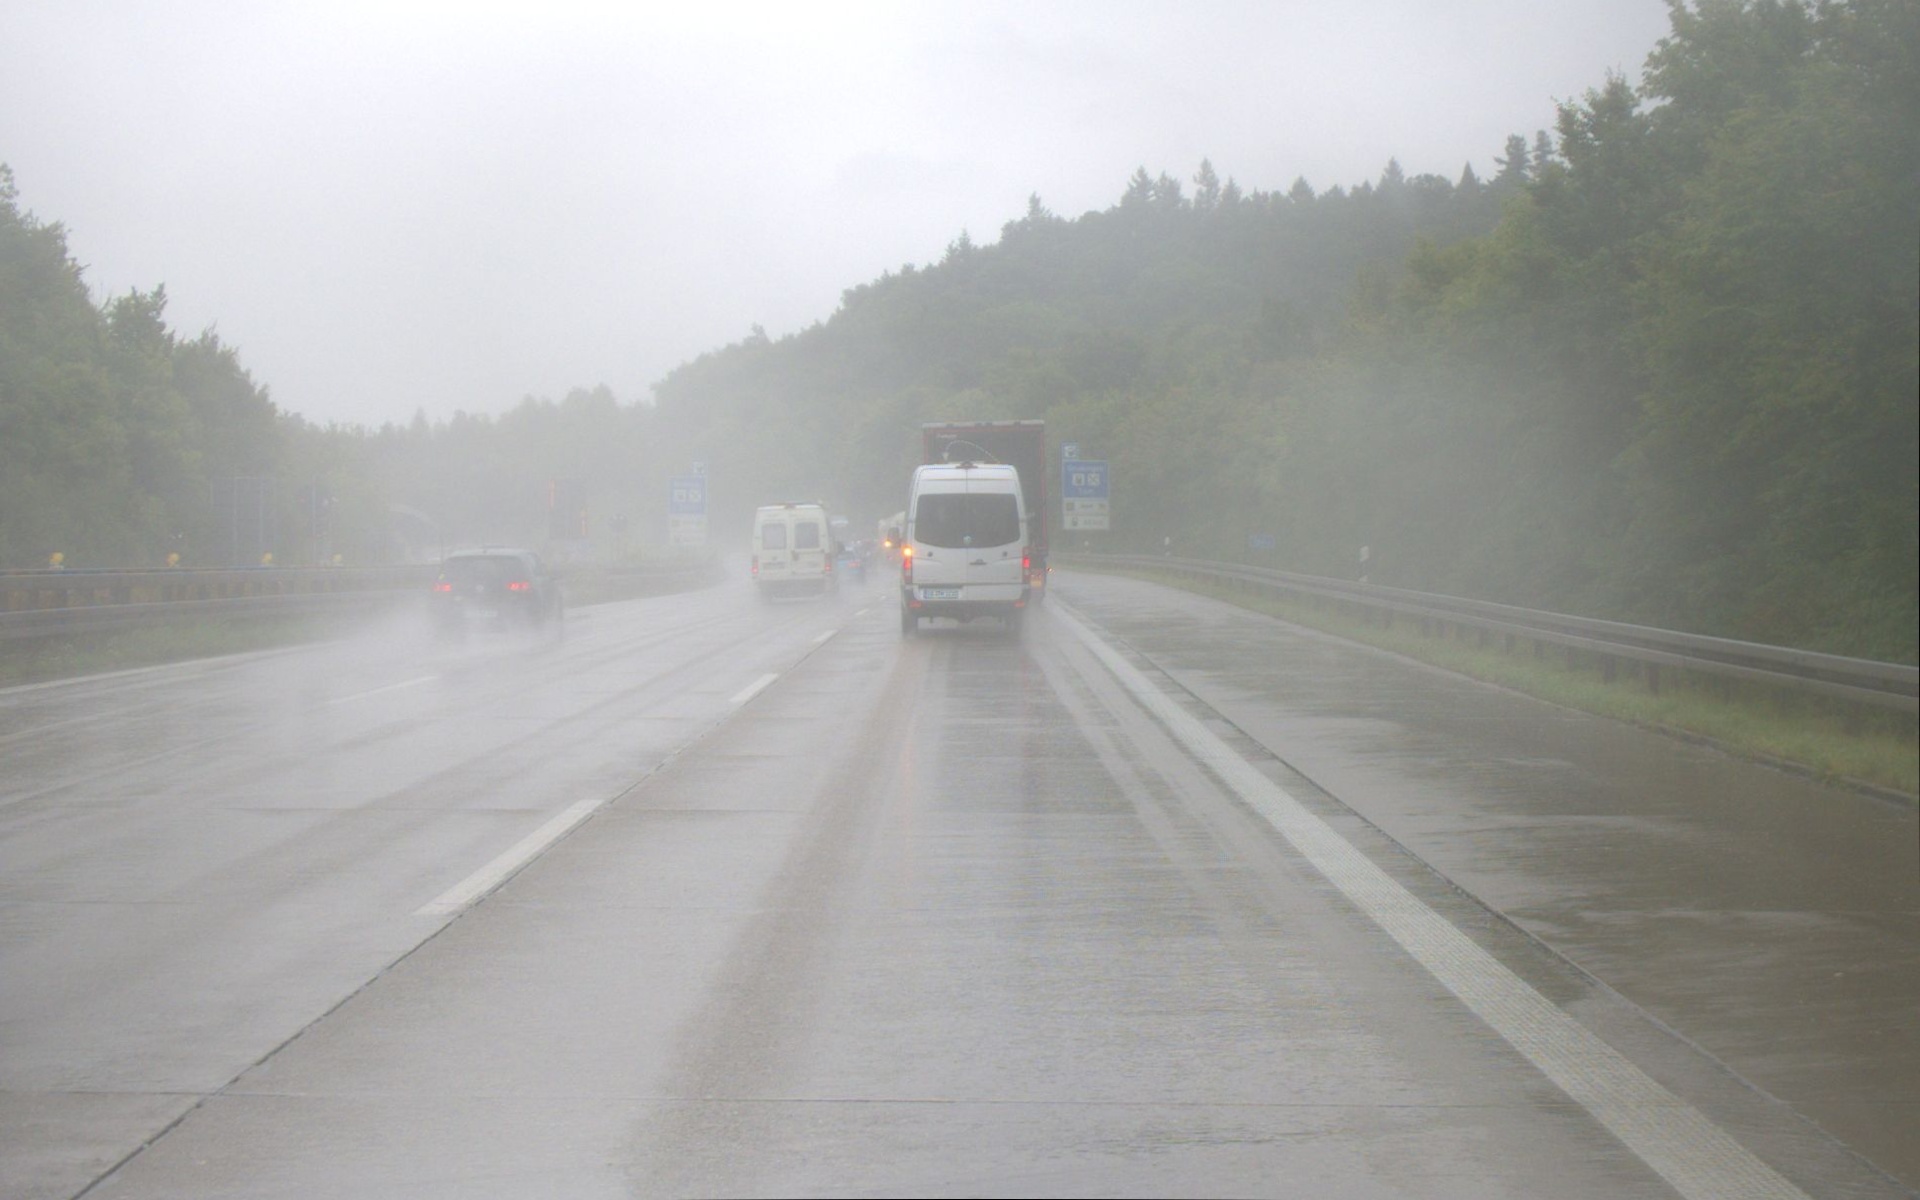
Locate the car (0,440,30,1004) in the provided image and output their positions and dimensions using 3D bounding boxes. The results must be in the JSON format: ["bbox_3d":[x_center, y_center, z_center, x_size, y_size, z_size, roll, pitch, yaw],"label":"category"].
[{"bbox_3d":[-4.150,0.447,9.337,1.899,1.888,5.043,0,1,0],"label":"car"}]

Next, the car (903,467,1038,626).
[{"bbox_3d":[0.110,-0.849,54.100,1.899,2.326,5.251,2,1,-1],"label":"car"}]

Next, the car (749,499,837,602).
[{"bbox_3d":[-4.156,-1.261,86.265,1.997,2.423,5.791,2,1,-1],"label":"car"}]

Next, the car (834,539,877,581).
[{"bbox_3d":[-4.664,-1.813,153.927,1.868,1.804,4.189,2,1,-1],"label":"car"}]

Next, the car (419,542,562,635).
[{"bbox_3d":[-7.231,-0.192,53.236,1.740,1.383,4.322,0,1,-2],"label":"car"}]

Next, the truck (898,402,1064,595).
[{"bbox_3d":[0.390,-2.336,76.389,3.385,3.954,8.668,-1,3,-1],"label":"truck"}]

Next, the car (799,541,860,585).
[{"bbox_3d":[-4.312,-1.238,112.895,1.856,1.334,4.352,2,1,-3],"label":"car"}]
